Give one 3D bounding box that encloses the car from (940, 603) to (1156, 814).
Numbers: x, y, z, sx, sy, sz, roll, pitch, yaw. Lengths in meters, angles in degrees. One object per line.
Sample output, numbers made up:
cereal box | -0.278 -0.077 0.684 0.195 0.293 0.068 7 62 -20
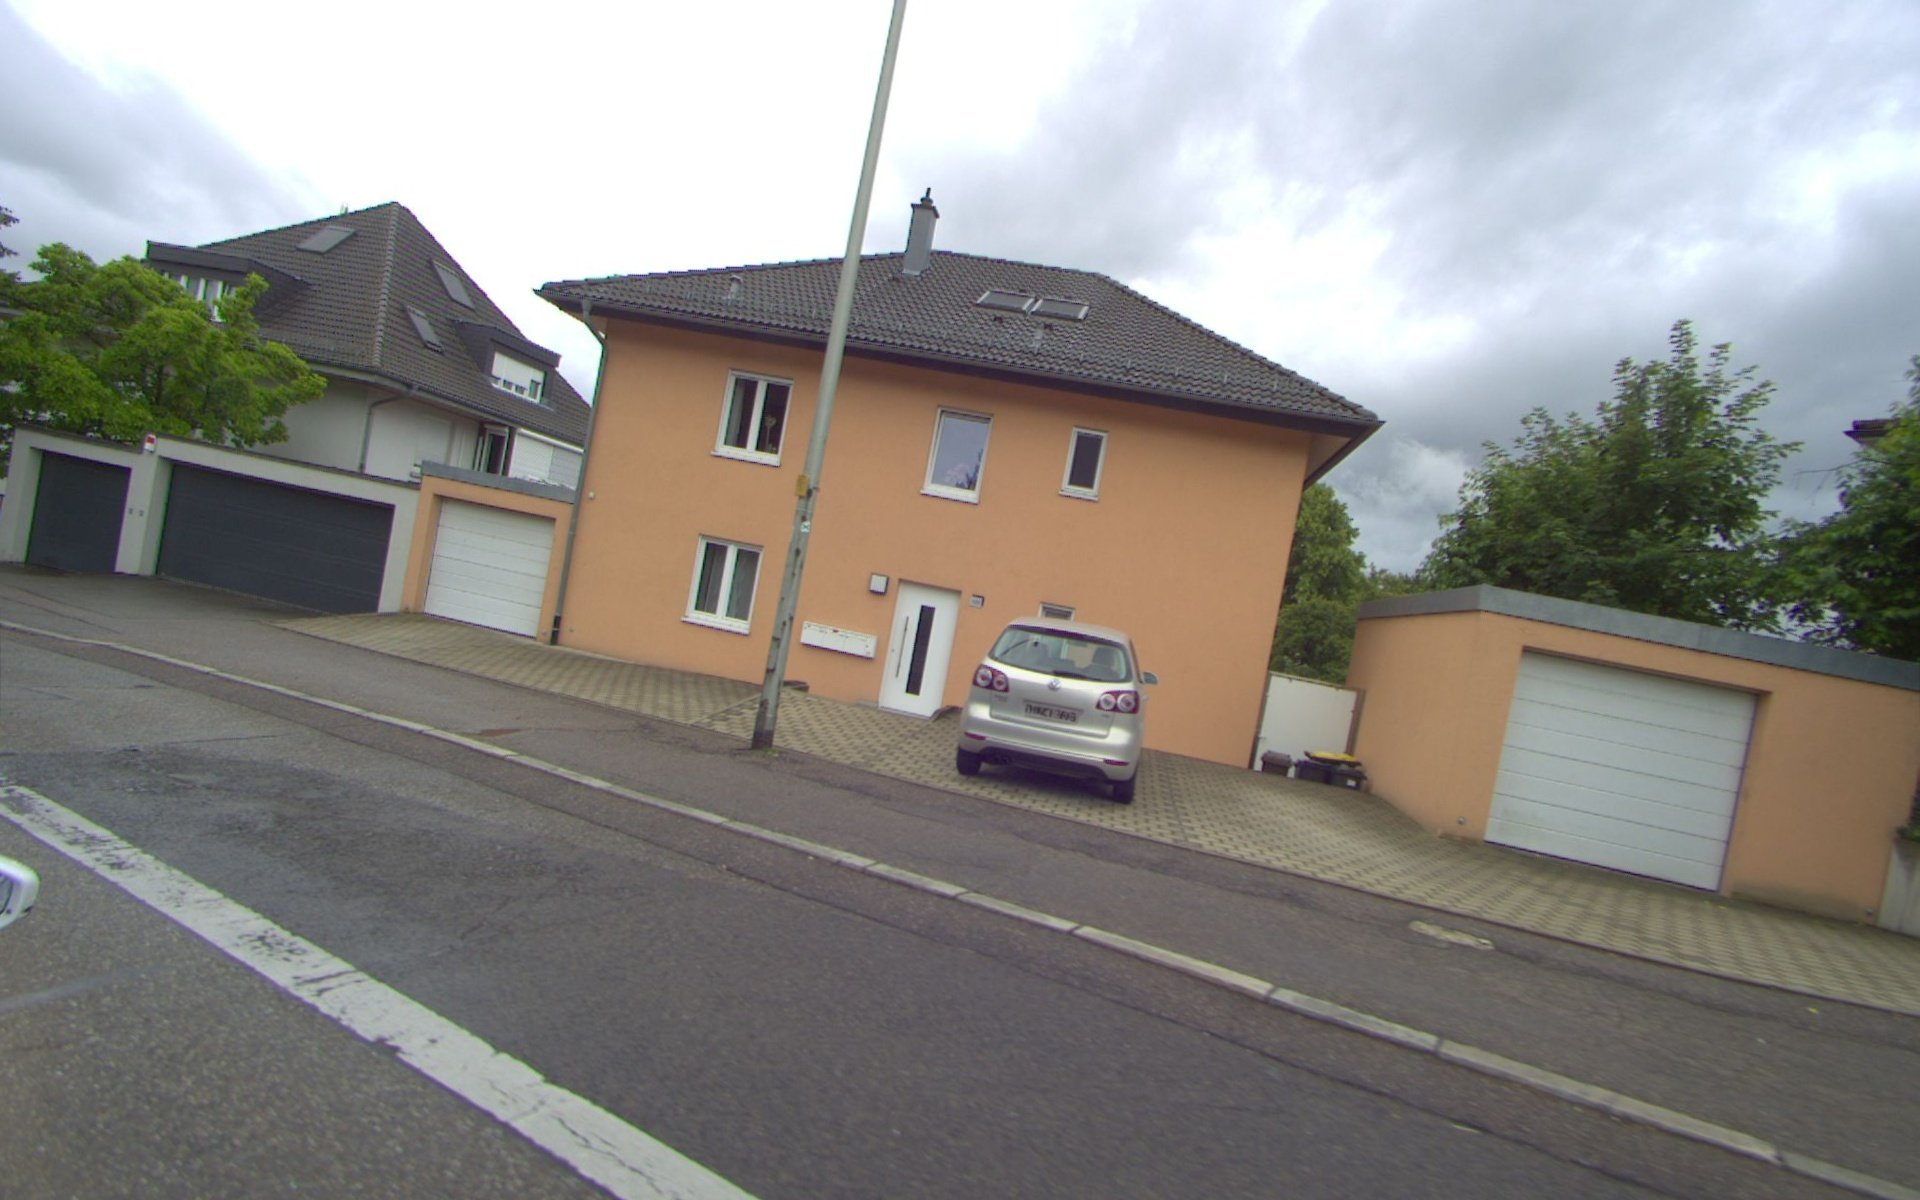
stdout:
car | 1.119 1.001 10.683 1.694 1.585 3.873 8 0 11
